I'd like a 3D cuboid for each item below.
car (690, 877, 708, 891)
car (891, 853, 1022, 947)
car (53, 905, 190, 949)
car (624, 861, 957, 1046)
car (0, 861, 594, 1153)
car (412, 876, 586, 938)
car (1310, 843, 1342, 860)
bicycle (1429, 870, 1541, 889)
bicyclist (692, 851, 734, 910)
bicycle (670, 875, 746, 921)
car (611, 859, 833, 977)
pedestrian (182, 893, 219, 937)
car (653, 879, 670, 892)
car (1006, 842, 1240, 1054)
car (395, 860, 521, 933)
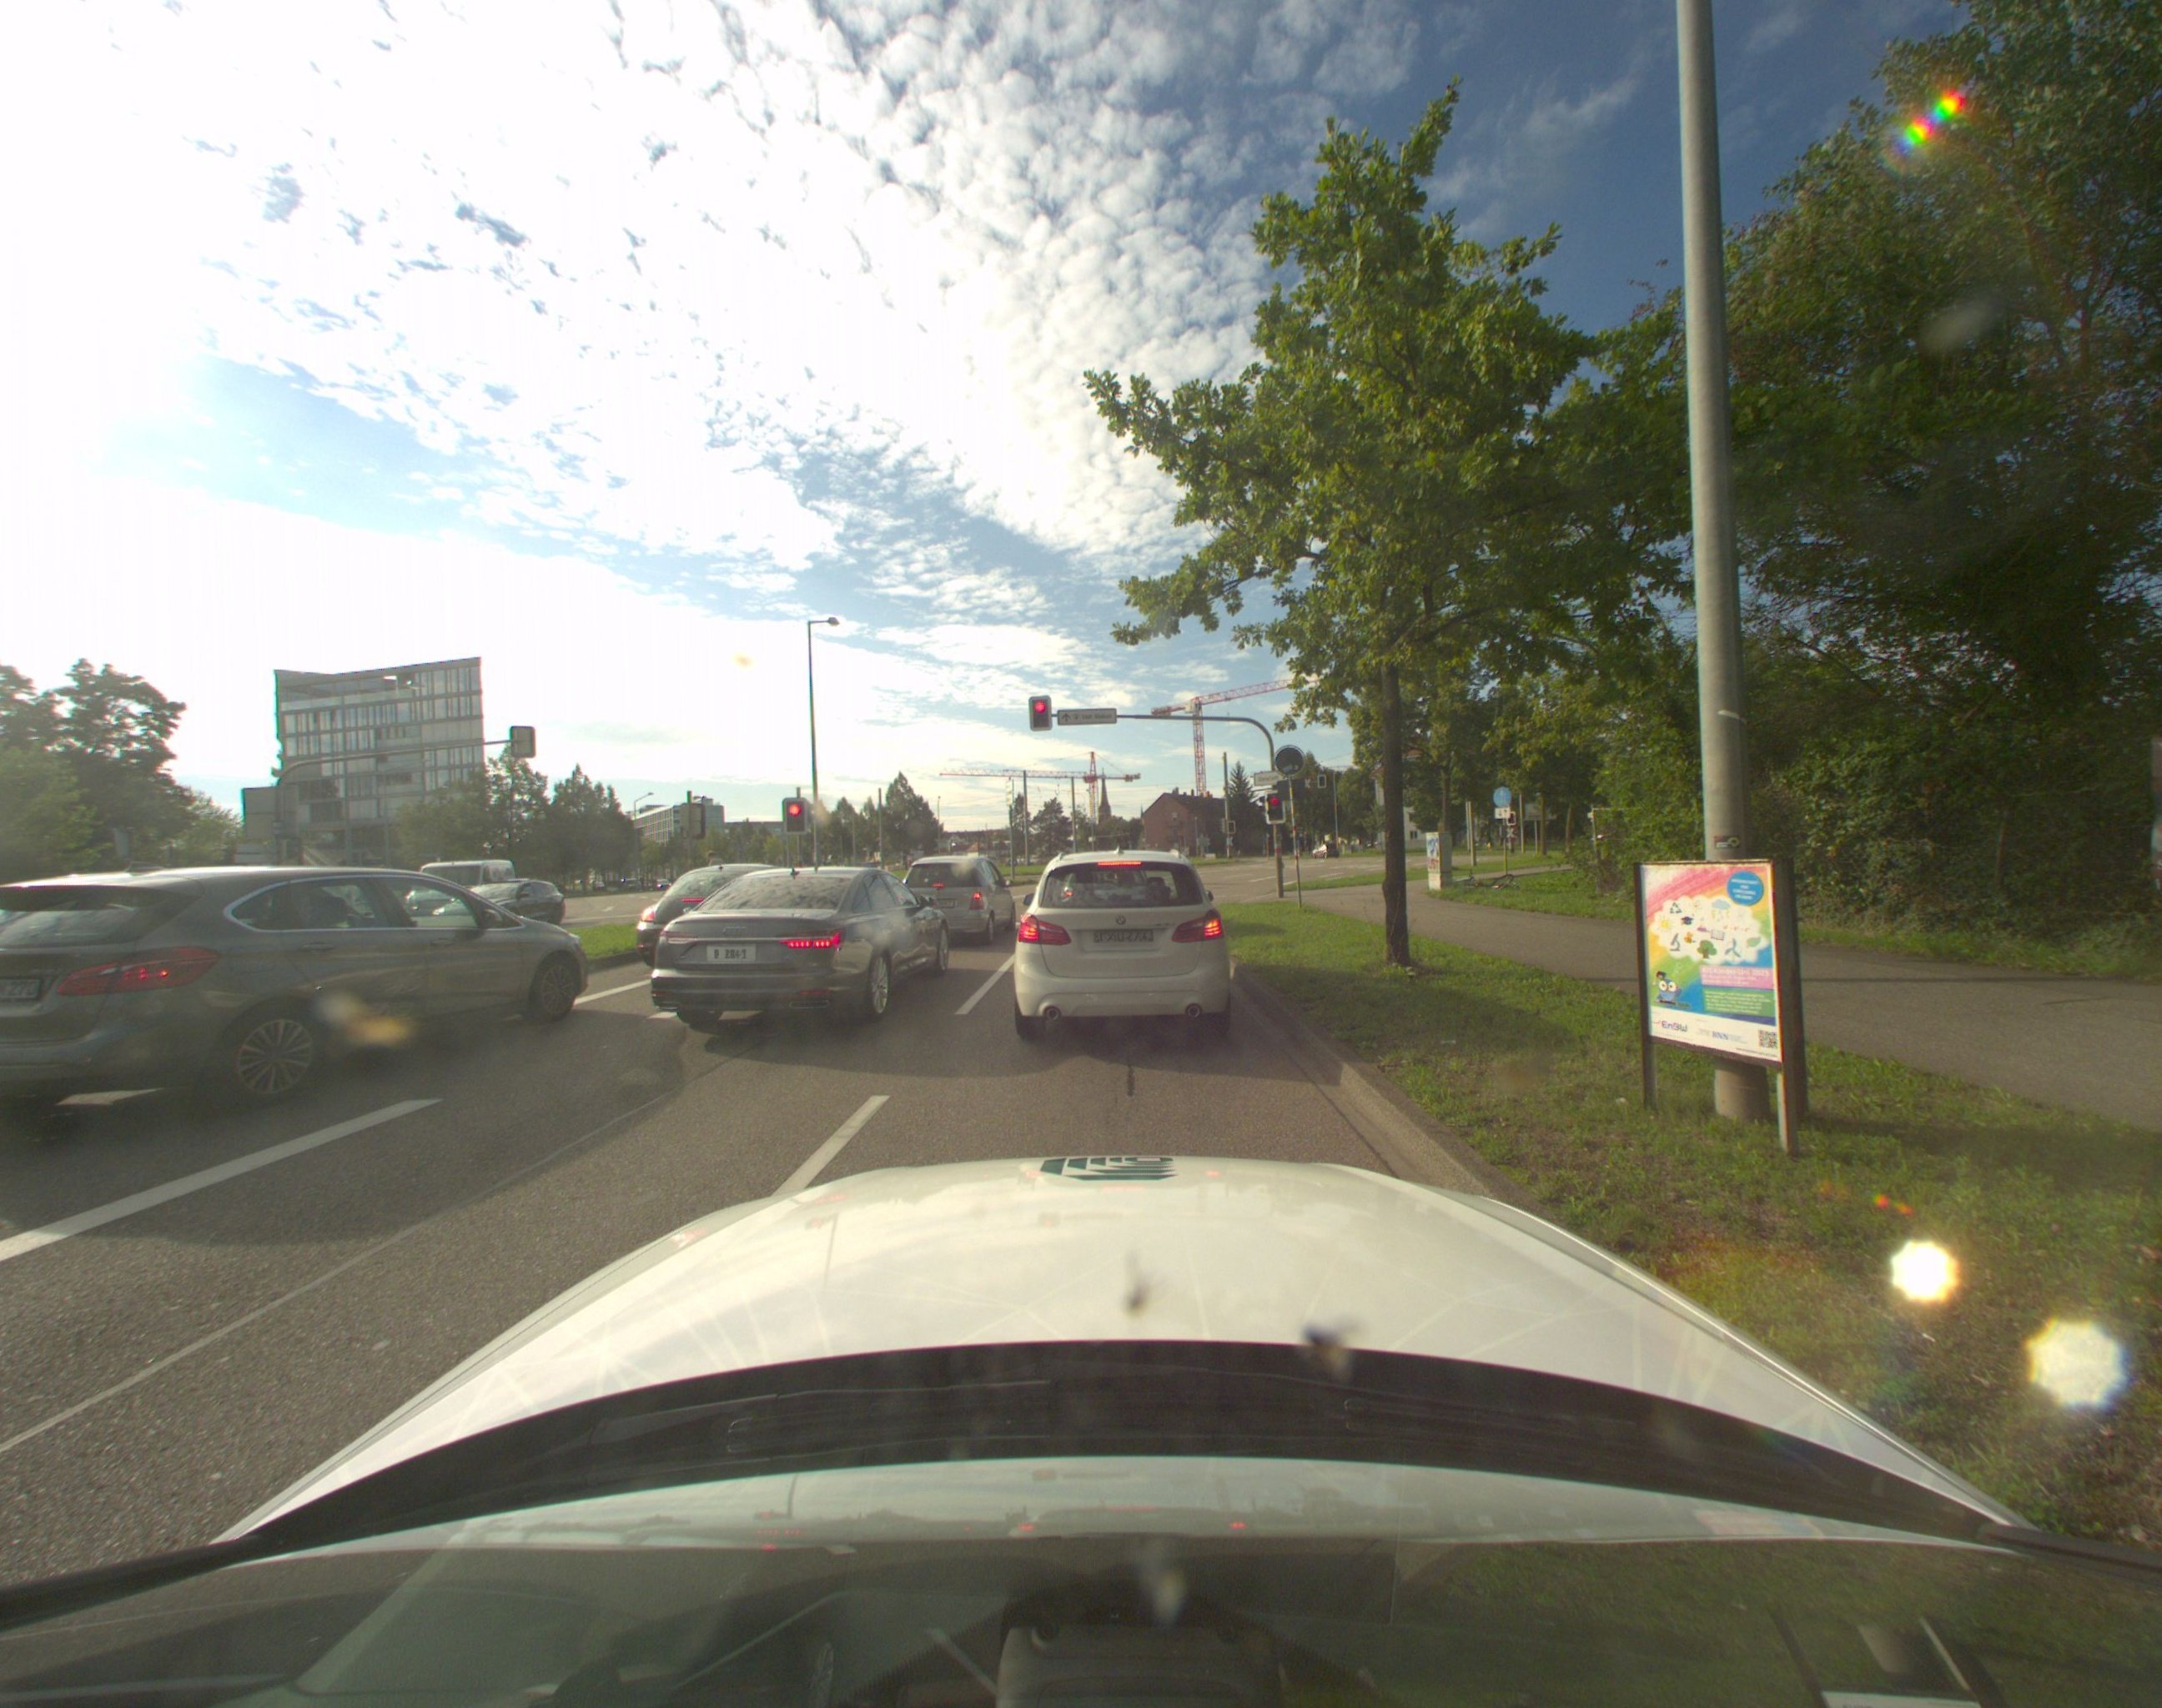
[{"bbox_3d":[-43.187,3.380,92.123,1.623,1.464,3.701,-3,0,-24],"label":"car"},{"bbox_3d":[-2.235,0.777,15.705,1.722,1.558,4.060,-1,0,2],"label":"car"},{"bbox_3d":[-44.866,3.393,38.234,1.690,1.770,4.023,-2,-2,44],"label":"car"},{"bbox_3d":[-2.744,0.837,8.998,1.883,1.483,4.614,-1,-1,2],"label":"car"},{"bbox_3d":[-6.011,0.864,6.472,1.722,1.558,4.021,-1,0,2],"label":"car"},{"bbox_3d":[-16.805,1.467,23.825,1.894,1.410,4.208,-5,-1,1],"label":"car"},{"bbox_3d":[25.838,-0.204,85.911,1.576,1.574,3.175,-5,0,-21],"label":"car"},{"bbox_3d":[10.484,0.641,21.290,1.407,0.385,2.568,-3,0,-9],"label":"bicycle"},{"bbox_3d":[-10.032,0.715,22.231,0.850,1.526,0.737,-3,-1,-15],"label":"bicyclist"},{"bbox_3d":[-10.140,1.186,22.193,1.728,1.163,0.652,-2,-1,-15],"label":"bicycle"},{"bbox_3d":[-5.368,0.868,12.755,1.674,1.523,3.811,-1,0,1],"label":"car"},{"bbox_3d":[-32.691,2.261,30.242,0.654,1.569,0.614,-2,-1,-5],"label":"pedestrian"},{"bbox_3d":[-50.424,3.751,97.959,1.600,1.415,3.639,-3,0,-25],"label":"car"},{"bbox_3d":[0.372,0.711,8.140,1.723,1.558,4.059,-1,0,2],"label":"car"},{"bbox_3d":[-22.311,1.451,29.475,2.002,2.235,5.880,-4,0,-22],"label":"car"}]
